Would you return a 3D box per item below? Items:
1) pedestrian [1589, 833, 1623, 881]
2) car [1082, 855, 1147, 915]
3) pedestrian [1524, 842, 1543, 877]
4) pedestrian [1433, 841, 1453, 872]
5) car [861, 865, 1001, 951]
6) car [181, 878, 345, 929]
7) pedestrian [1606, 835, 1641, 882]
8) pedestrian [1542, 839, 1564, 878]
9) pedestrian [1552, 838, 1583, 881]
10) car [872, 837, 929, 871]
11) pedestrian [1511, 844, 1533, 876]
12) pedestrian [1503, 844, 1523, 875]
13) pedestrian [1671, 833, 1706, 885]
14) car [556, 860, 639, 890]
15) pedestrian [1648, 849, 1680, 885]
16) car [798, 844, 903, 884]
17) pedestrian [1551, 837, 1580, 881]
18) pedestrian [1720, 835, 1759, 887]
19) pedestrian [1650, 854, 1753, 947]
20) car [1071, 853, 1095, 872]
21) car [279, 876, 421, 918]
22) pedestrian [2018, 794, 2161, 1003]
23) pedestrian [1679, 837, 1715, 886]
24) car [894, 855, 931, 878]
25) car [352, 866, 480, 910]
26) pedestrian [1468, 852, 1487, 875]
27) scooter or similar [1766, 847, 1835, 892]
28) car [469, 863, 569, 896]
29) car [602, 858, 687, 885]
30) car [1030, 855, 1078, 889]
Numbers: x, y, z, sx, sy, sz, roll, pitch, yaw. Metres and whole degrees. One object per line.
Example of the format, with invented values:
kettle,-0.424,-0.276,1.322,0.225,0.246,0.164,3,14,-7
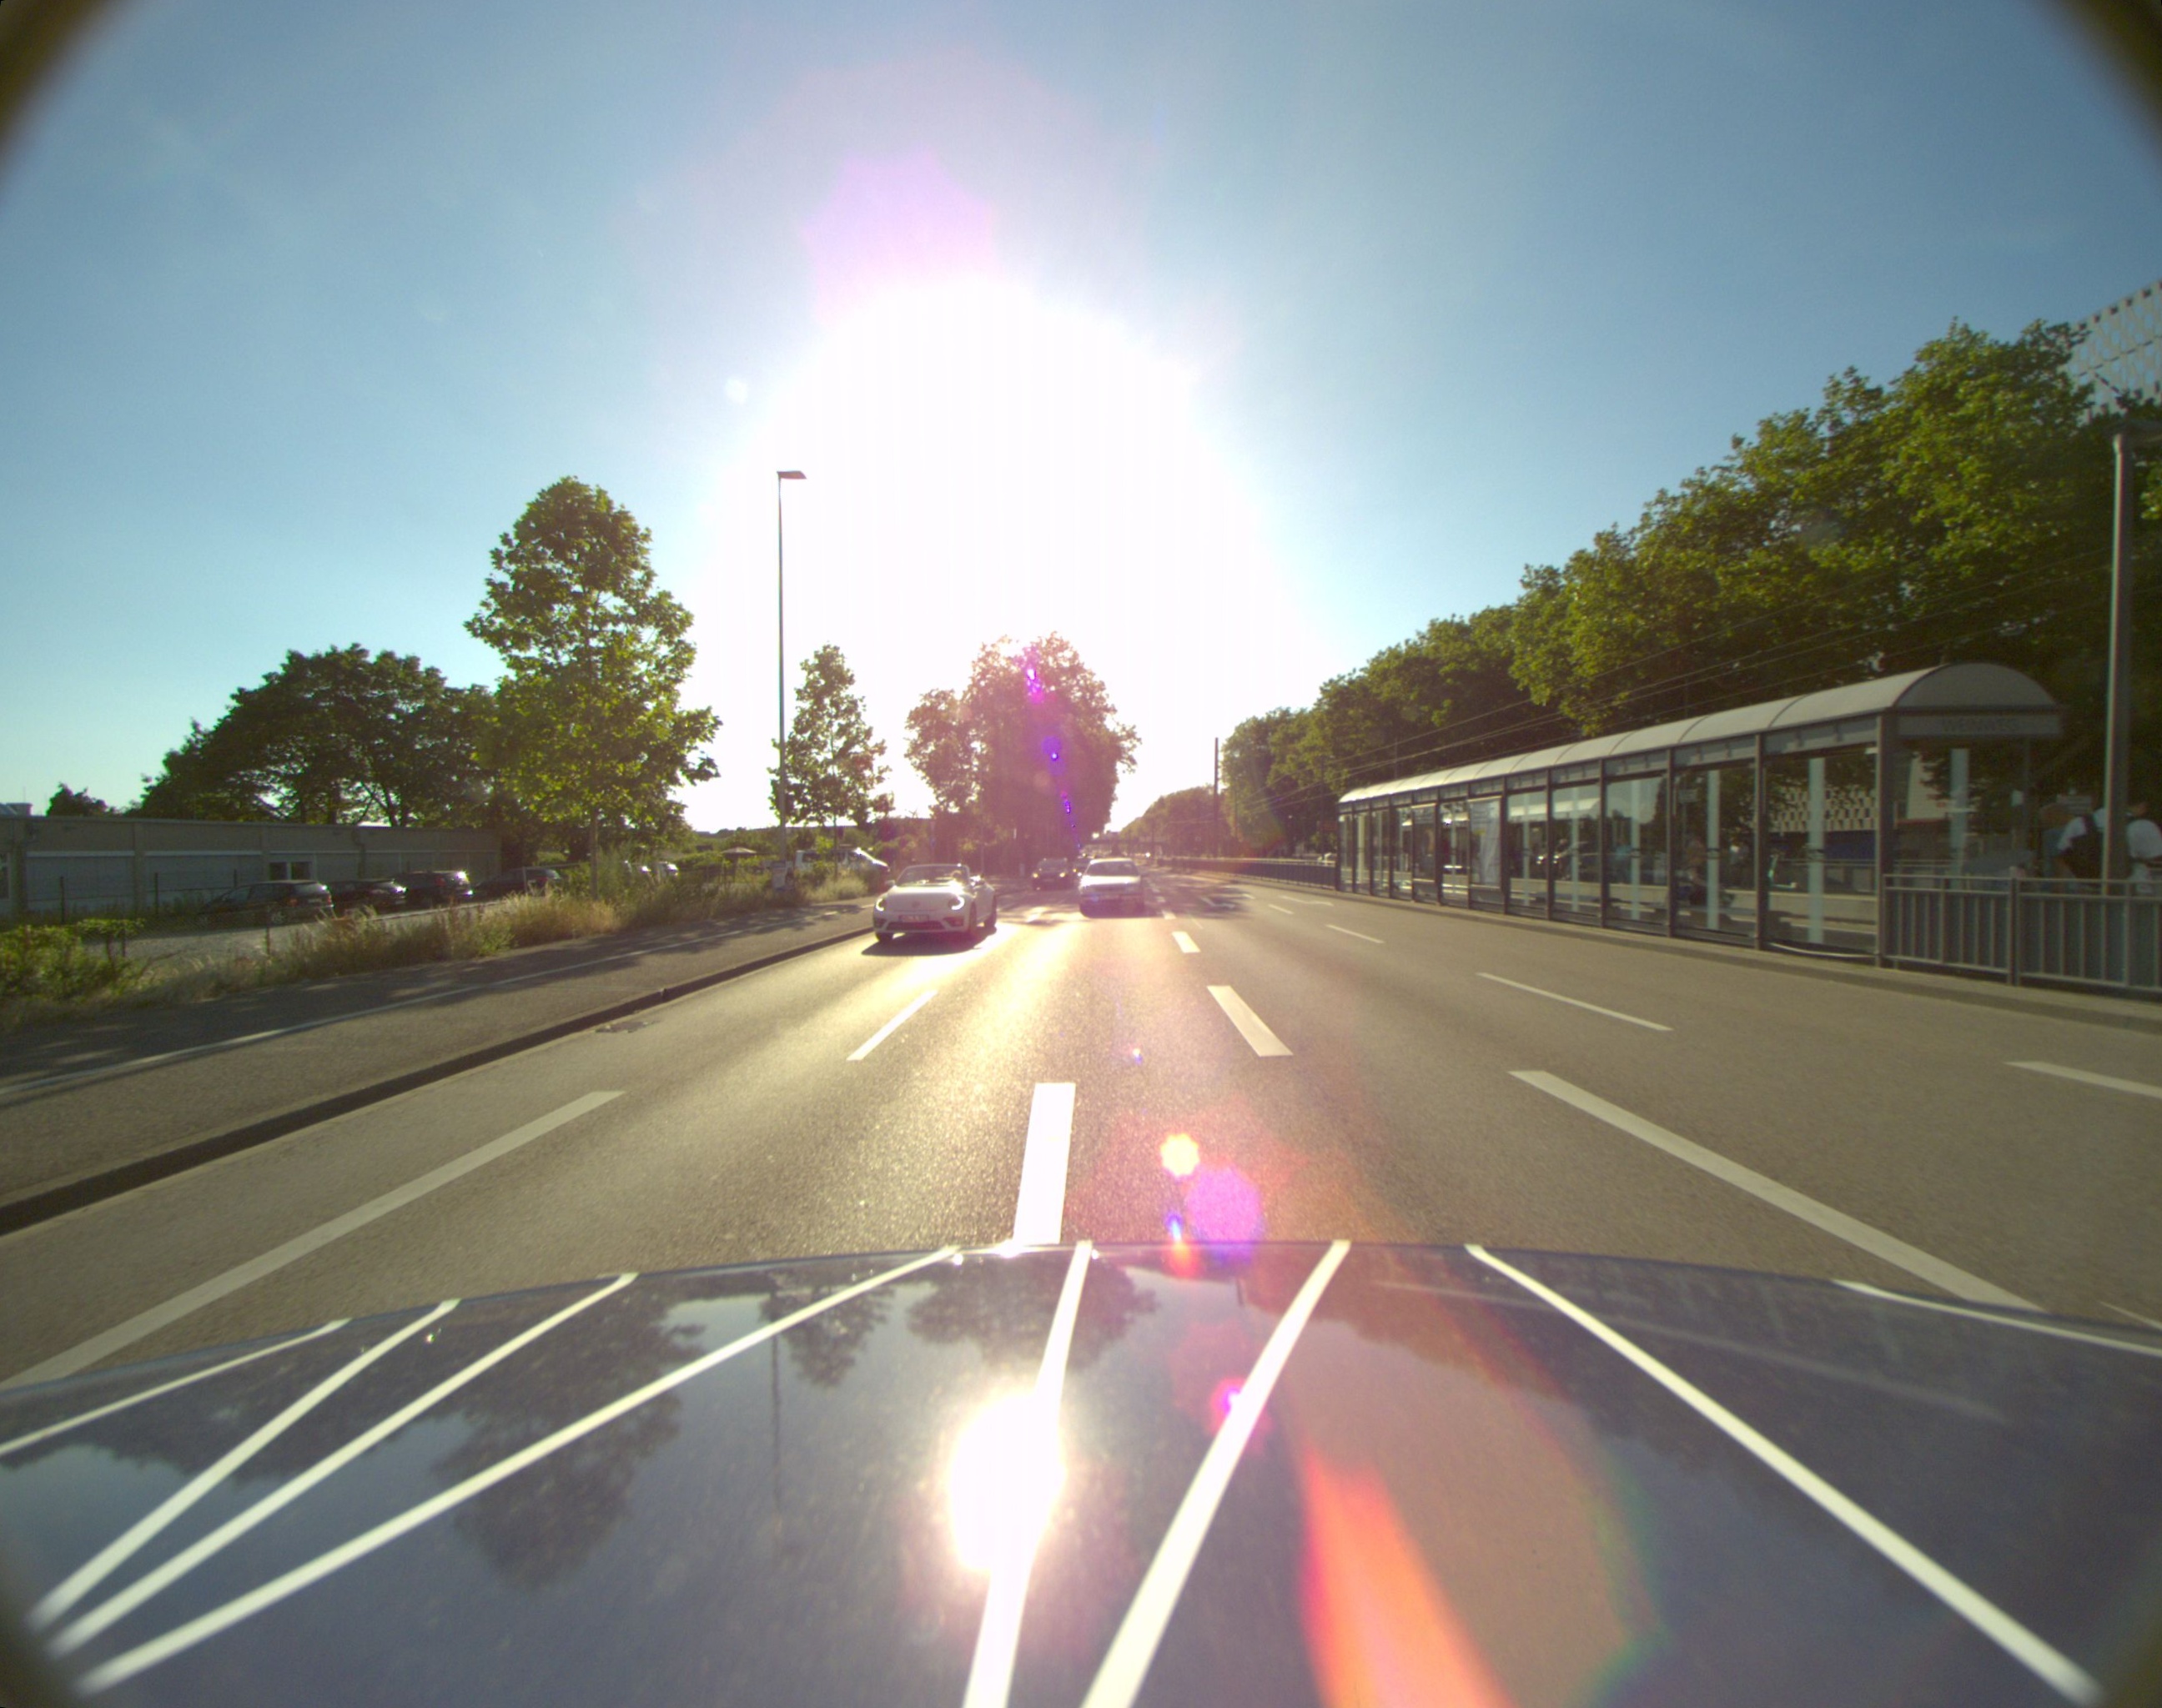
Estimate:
pedestrian,20.033,0.115,29.004,0.734,1.810,0.687,-3,1,-7
car,0.903,0.796,21.207,1.602,1.440,3.799,-2,0,1
pedestrian,20.314,0.246,34.115,0.576,1.568,0.488,-1,1,9
pedestrian,19.724,0.132,41.389,0.763,1.700,0.678,-1,1,1
car,-2.864,0.980,15.403,1.856,1.415,3.980,-1,0,2
car,-29.576,1.773,27.582,3.793,1.548,1.727,-2,3,-4
pedestrian,20.155,0.154,28.255,0.734,1.682,0.686,-3,1,-10
pedestrian,19.940,0.174,32.122,0.576,1.626,0.644,-1,1,9
pedestrian,18.805,0.216,29.363,0.662,1.623,0.777,-2,1,1
car,-14.713,-0.024,62.396,2.939,2.607,5.924,-1,0,4
pedestrian,20.348,0.266,35.095,0.671,1.483,0.576,-1,1,-13
pedestrian,20.289,0.251,35.673,0.616,1.460,0.544,-1,1,-8
pedestrian,20.572,0.168,25.741,0.652,1.709,0.635,-2,1,4
car,-29.448,1.265,46.369,3.874,1.631,1.664,-3,0,-1
pedestrian,20.198,0.429,26.333,0.603,1.217,0.617,-2,1,4
car,-13.253,0.544,43.971,5.351,2.010,2.103,-3,0,-2
pedestrian,19.537,0.191,30.627,0.654,1.732,0.685,-3,1,-3
pedestrian,20.657,0.211,23.856,0.603,1.610,0.690,-2,1,4
pedestrian,8.652,0.626,10.626,0.682,1.224,0.878,-3,0,0
car,0.190,0.649,62.806,1.871,1.422,3.831,-3,0,1
car,-29.424,1.722,30.694,3.793,1.389,1.738,-2,3,-4
pedestrian,9.039,0.351,6.632,0.695,1.706,0.821,-2,1,-5
pedestrian,20.525,0.241,25.319,0.652,1.610,0.635,-2,1,4
car,-12.432,0.899,56.402,1.999,1.637,4.155,-1,0,-3
car,-29.303,1.473,33.570,3.919,1.657,1.705,-3,2,-3
pedestrian,20.430,0.477,39.143,0.679,1.155,0.624,-1,1,-2
scooter or similar,20.396,0.428,21.580,0.666,1.227,1.372,-1,1,-1
car,-30.465,1.360,41.299,4.031,1.577,1.685,-3,0,-3
car,-29.802,1.159,51.962,4.661,1.560,1.858,-3,0,-3
car,-1.233,0.812,36.486,1.740,1.502,4.001,-2,0,5
